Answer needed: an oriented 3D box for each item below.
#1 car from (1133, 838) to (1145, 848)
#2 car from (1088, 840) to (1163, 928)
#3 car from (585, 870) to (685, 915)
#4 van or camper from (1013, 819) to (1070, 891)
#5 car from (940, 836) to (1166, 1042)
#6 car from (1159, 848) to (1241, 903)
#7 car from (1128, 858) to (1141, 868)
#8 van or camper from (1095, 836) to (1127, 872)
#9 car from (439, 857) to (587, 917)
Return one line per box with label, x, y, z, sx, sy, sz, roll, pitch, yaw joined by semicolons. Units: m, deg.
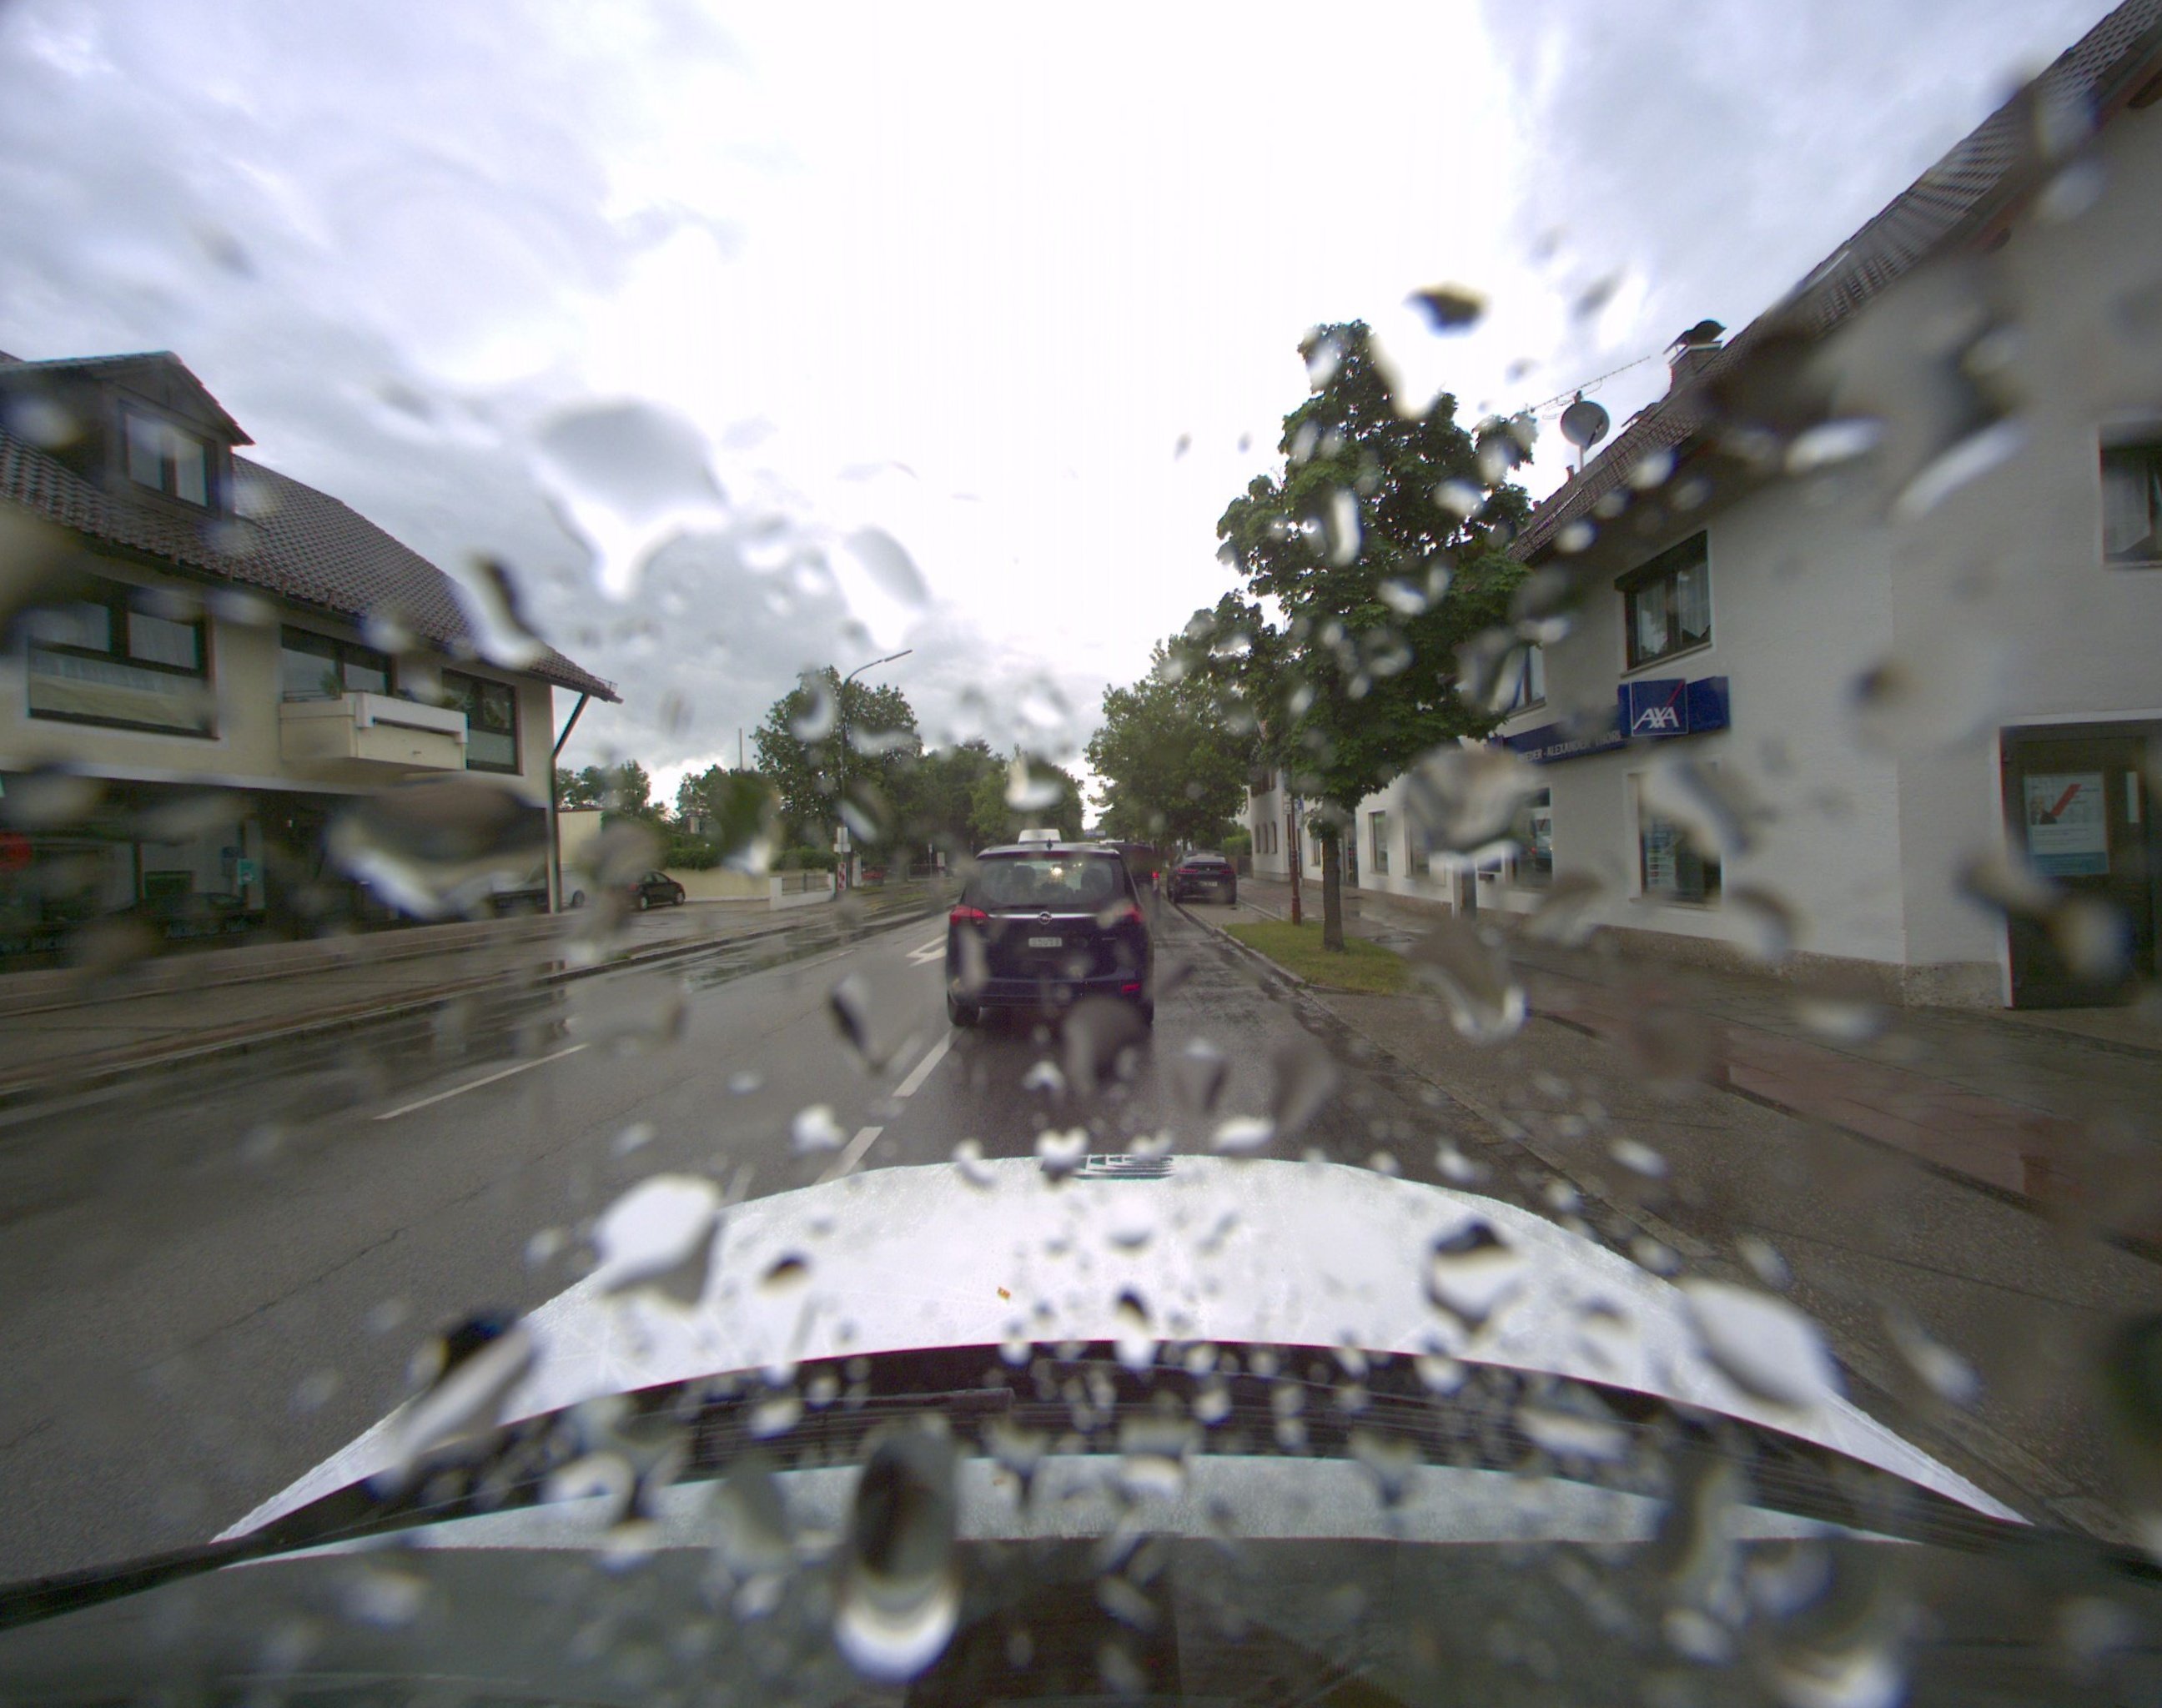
car;8.840;-1.626;124.185;1.624;1.378;3.624;-3;0;2
car;0.960;0.610;18.025;1.494;1.776;3.113;-1;0;2
car;-16.261;1.361;29.882;1.601;1.380;3.510;-3;0;2
van or camper;-1.581;0.051;34.385;2.088;2.707;6.265;-2;0;-1
car;-0.156;0.679;8.274;1.762;1.604;3.665;-1;0;2
car;3.691;0.646;25.851;2.110;1.581;3.936;-1;0;1
car;7.520;1.266;114.667;1.624;1.378;3.624;-1;-1;2
van or camper;2.405;0.029;65.596;2.351;2.665;5.374;-2;0;2
car;-20.820;1.133;30.136;1.957;1.919;4.738;-3;0;1
